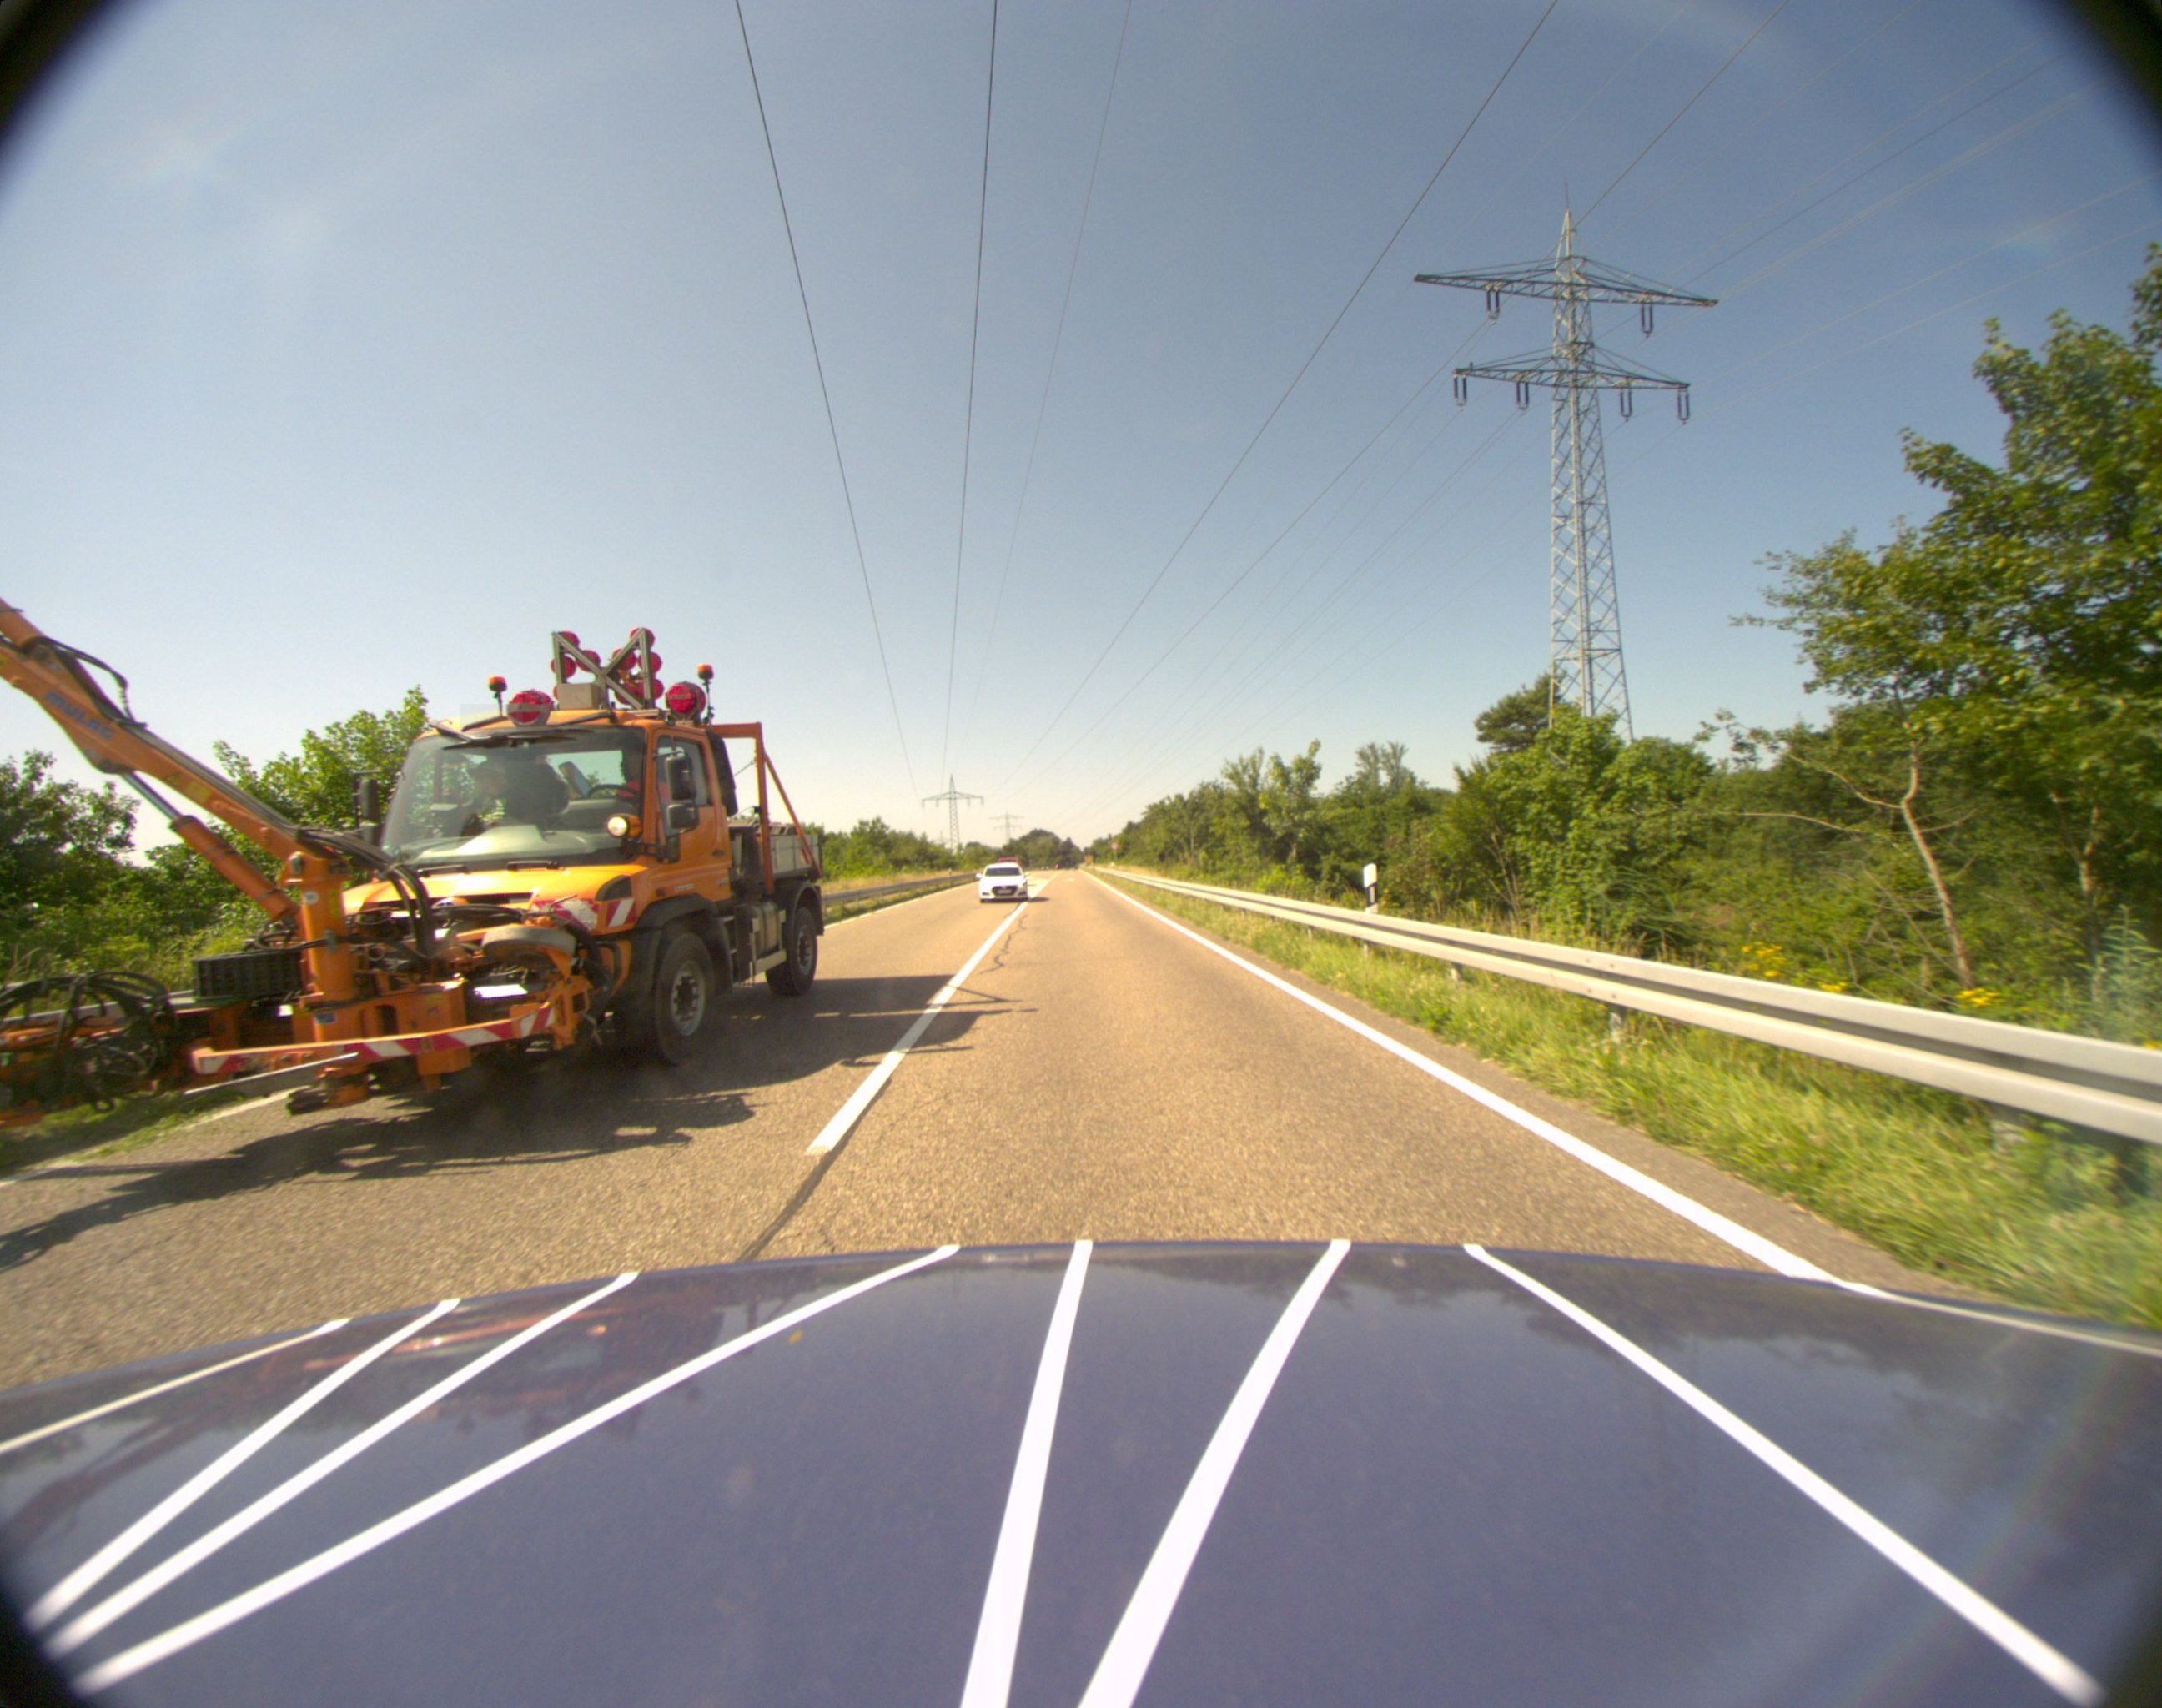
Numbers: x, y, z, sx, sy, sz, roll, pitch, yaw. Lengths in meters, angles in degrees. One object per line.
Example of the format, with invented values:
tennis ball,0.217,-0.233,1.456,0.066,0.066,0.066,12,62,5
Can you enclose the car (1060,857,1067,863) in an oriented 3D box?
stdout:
car,-5.089,1.765,223.062,1.834,1.574,3.999,0,0,-3

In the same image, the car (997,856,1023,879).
car,-6.358,1.157,68.604,2.127,1.934,5.017,-2,0,-4

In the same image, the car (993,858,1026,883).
car,-4.841,1.101,50.945,1.924,1.540,4.790,-2,0,-7

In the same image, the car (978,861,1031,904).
car,-3.130,1.080,30.511,1.924,1.496,4.790,-2,0,-7

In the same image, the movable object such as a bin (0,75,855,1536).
movable object such as a bin,-4.375,-0.098,5.789,2.761,3.817,9.443,-2,0,-3
